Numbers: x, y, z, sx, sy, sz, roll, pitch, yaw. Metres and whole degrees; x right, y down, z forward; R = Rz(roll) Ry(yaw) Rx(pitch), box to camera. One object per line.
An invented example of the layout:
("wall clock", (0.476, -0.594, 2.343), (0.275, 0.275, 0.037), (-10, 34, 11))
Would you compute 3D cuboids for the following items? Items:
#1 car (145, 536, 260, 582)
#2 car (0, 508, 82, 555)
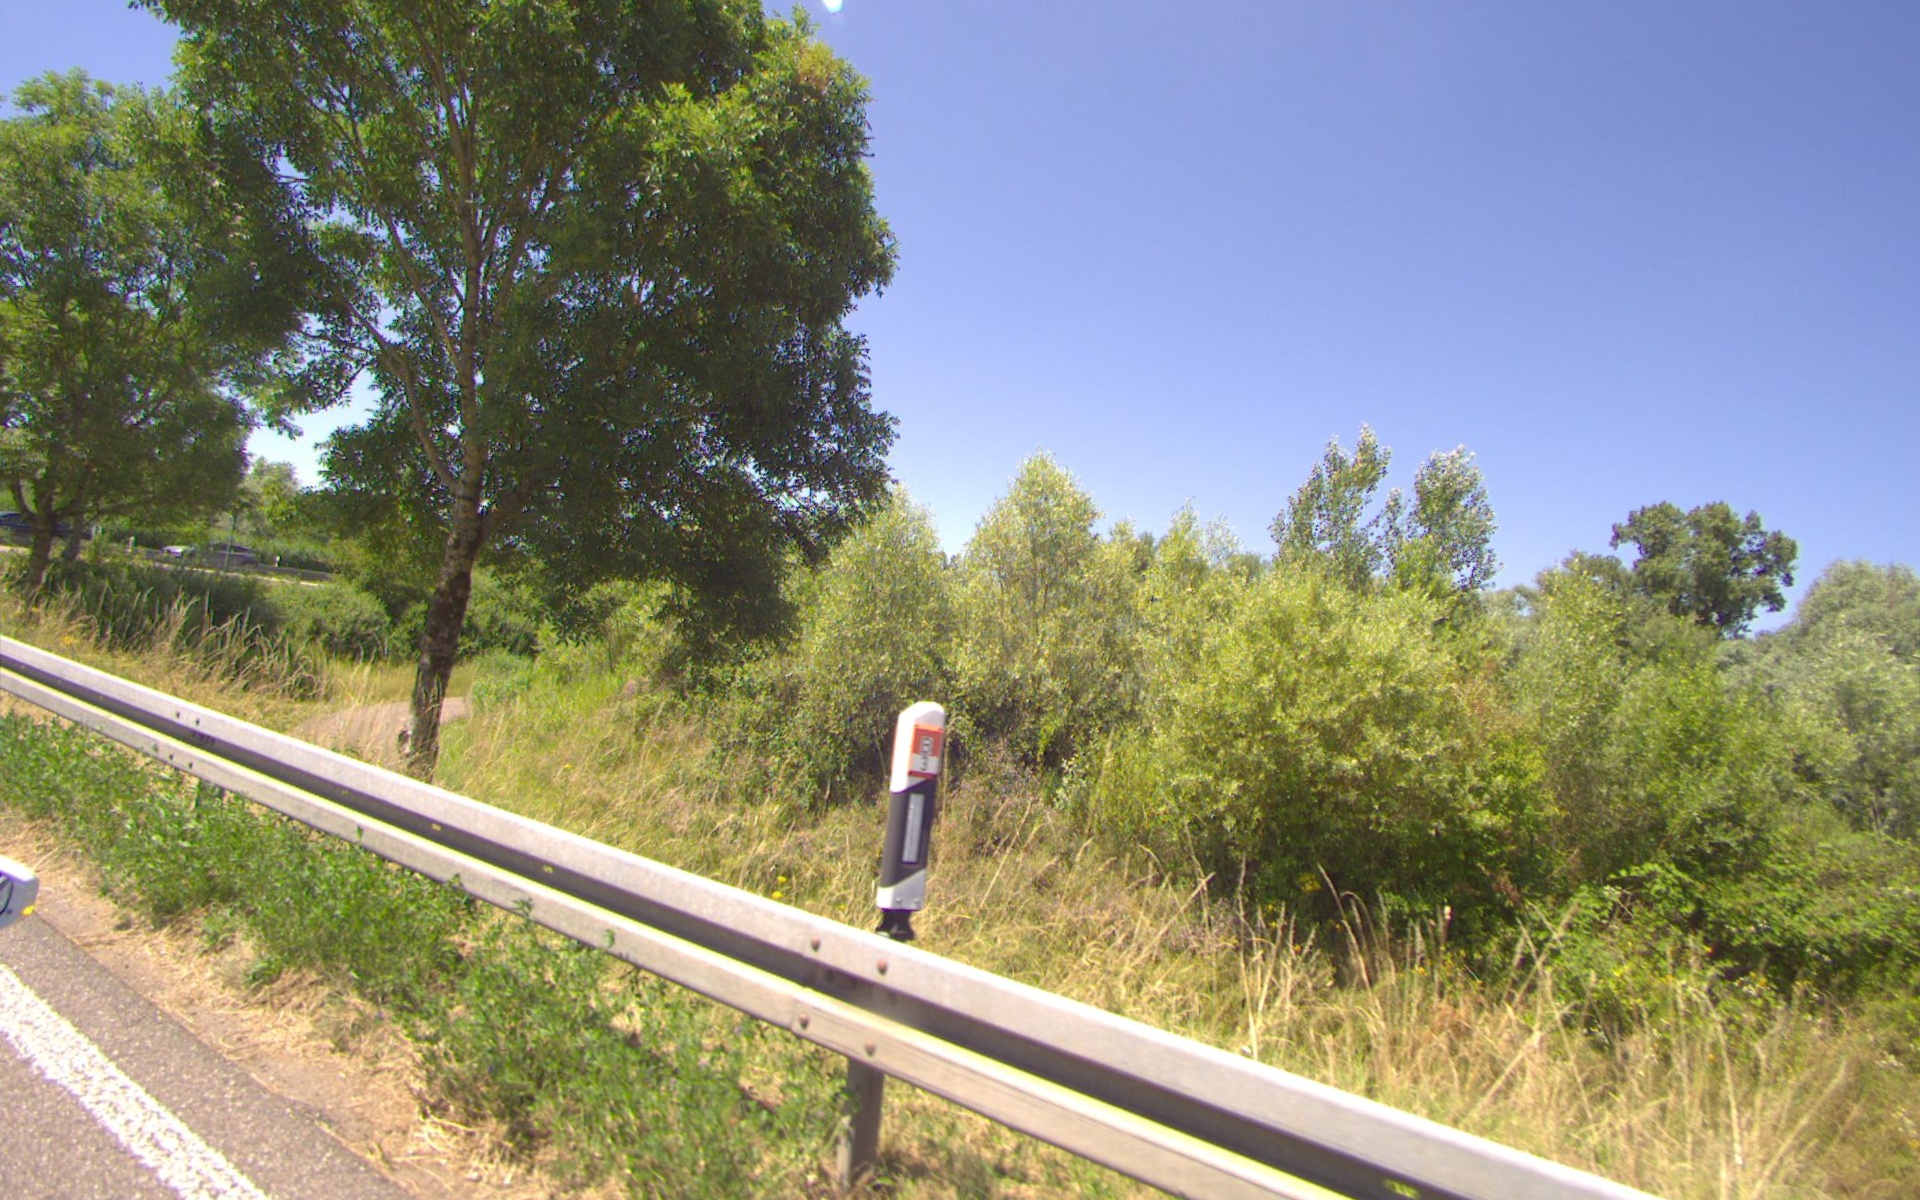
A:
("car", (-39.053, -2.080, 51.985), (1.899, 1.650, 4.239), (7, -3, 26))
("car", (-42.371, -3.223, 44.443), (1.900, 1.650, 4.941), (7, -3, 27))
